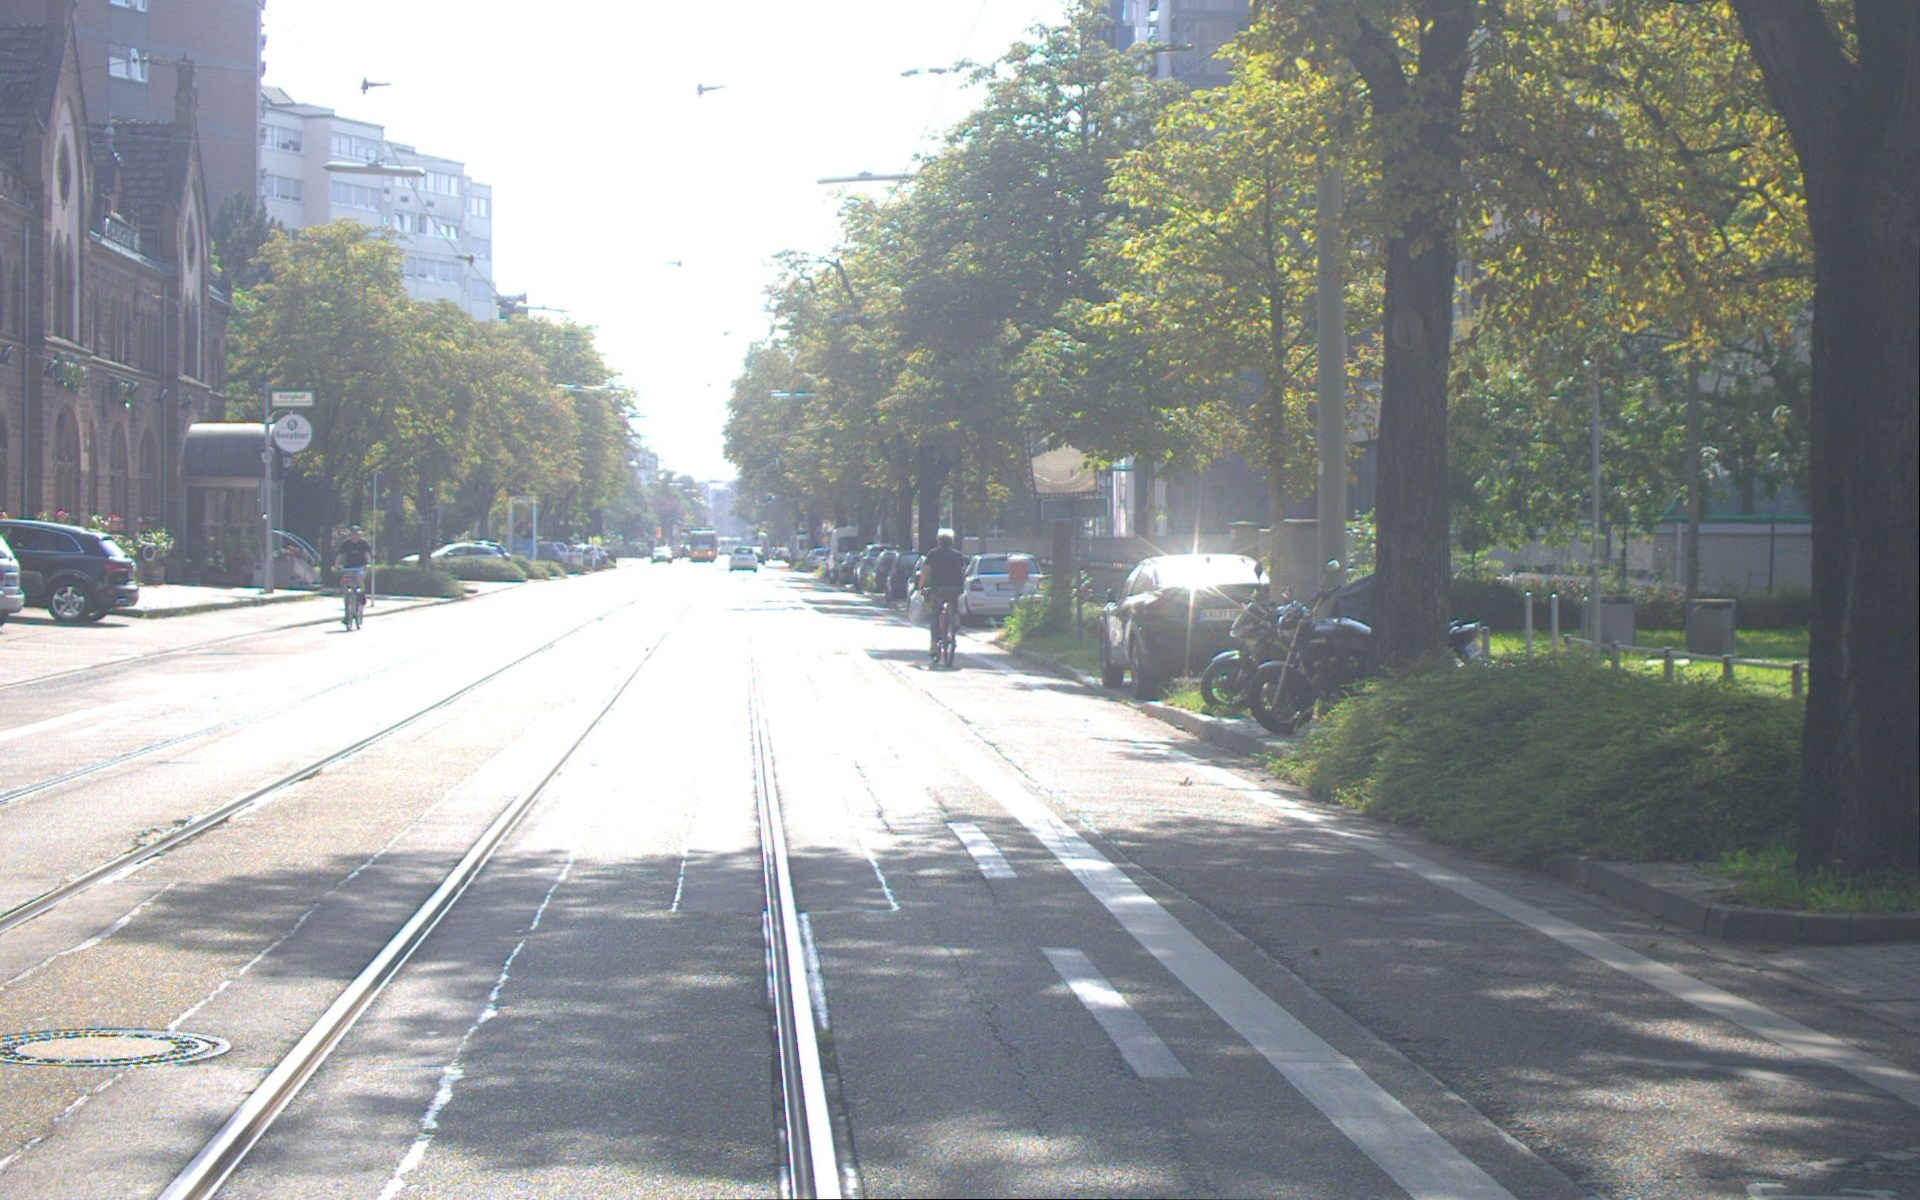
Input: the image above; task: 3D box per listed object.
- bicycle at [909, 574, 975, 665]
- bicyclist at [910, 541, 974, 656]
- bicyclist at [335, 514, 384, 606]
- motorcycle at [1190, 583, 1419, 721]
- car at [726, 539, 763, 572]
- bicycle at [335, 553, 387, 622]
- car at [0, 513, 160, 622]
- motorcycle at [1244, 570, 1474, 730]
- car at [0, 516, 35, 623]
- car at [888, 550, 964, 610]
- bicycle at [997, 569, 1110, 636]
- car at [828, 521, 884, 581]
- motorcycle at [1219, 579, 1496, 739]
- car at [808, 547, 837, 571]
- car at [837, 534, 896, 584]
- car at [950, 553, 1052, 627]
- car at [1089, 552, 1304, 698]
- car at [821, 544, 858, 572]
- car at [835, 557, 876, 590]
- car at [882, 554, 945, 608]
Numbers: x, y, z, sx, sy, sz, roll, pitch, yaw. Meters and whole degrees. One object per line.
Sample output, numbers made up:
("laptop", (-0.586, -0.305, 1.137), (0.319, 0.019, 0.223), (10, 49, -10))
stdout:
("bicycle", (-0.245, 0.237, 44.862), (0.787, 1.140, 2.305), (1, 1, -2))
("bicyclist", (-0.236, -0.026, 44.849), (0.787, 1.465, 1.116), (1, 0, -2))
("bicyclist", (-10.570, -0.713, 60.520), (0.697, 1.575, 1.087), (-3, 1, -6))
("motorcycle", (3.176, 0.465, 31.695), (1.985, 1.221, 0.645), (1, 0, 22))
("car", (-12.367, -2.542, 197.135), (1.993, 1.831, 4.000), (1, 1, -2))
("bicycle", (-10.539, -0.232, 60.522), (0.697, 1.154, 2.038), (-3, 1, -6))
("car", (-16.101, -0.632, 58.780), (4.396, 1.640, 1.957), (4, 1, -6))
("motorcycle", (3.417, 0.409, 29.644), (0.842, 1.322, 2.067), (-1, 1, -32))
("car", (-16.465, -0.612, 52.865), (3.899, 1.590, 1.823), (5, 1, -1))
("car", (-0.887, -0.477, 86.905), (1.646, 1.423, 4.085), (0, -1, -5))
("bicycle", (1.539, 0.040, 56.995), (1.768, 1.060, 0.796), (-1, 1, -5))
("car", (-4.664, -2.199, 153.656), (2.082, 2.544, 5.502), (-3, 1, -5))
("motorcycle", (3.206, 0.462, 27.831), (2.064, 1.238, 0.843), (0, 1, 35))
("car", (-8.273, -2.450, 206.209), (1.689, 1.413, 3.635), (1, 1, -3))
("car", (-3.348, -1.476, 122.577), (1.753, 1.685, 4.397), (1, 1, -5))
("car", (0.802, -0.215, 69.391), (1.640, 1.425, 3.990), (0, 1, -5))
("car", (2.596, 0.235, 38.706), (1.740, 1.481, 4.438), (-1, 1, -5))
("car", (-6.067, -2.097, 172.747), (1.753, 1.373, 4.719), (-1, 1, -3))
("car", (-4.365, -1.102, 143.415), (1.616, 1.369, 4.828), (0, 1, -3))
("car", (-1.370, -0.572, 99.446), (1.646, 1.506, 3.779), (-1, 1, -3))
